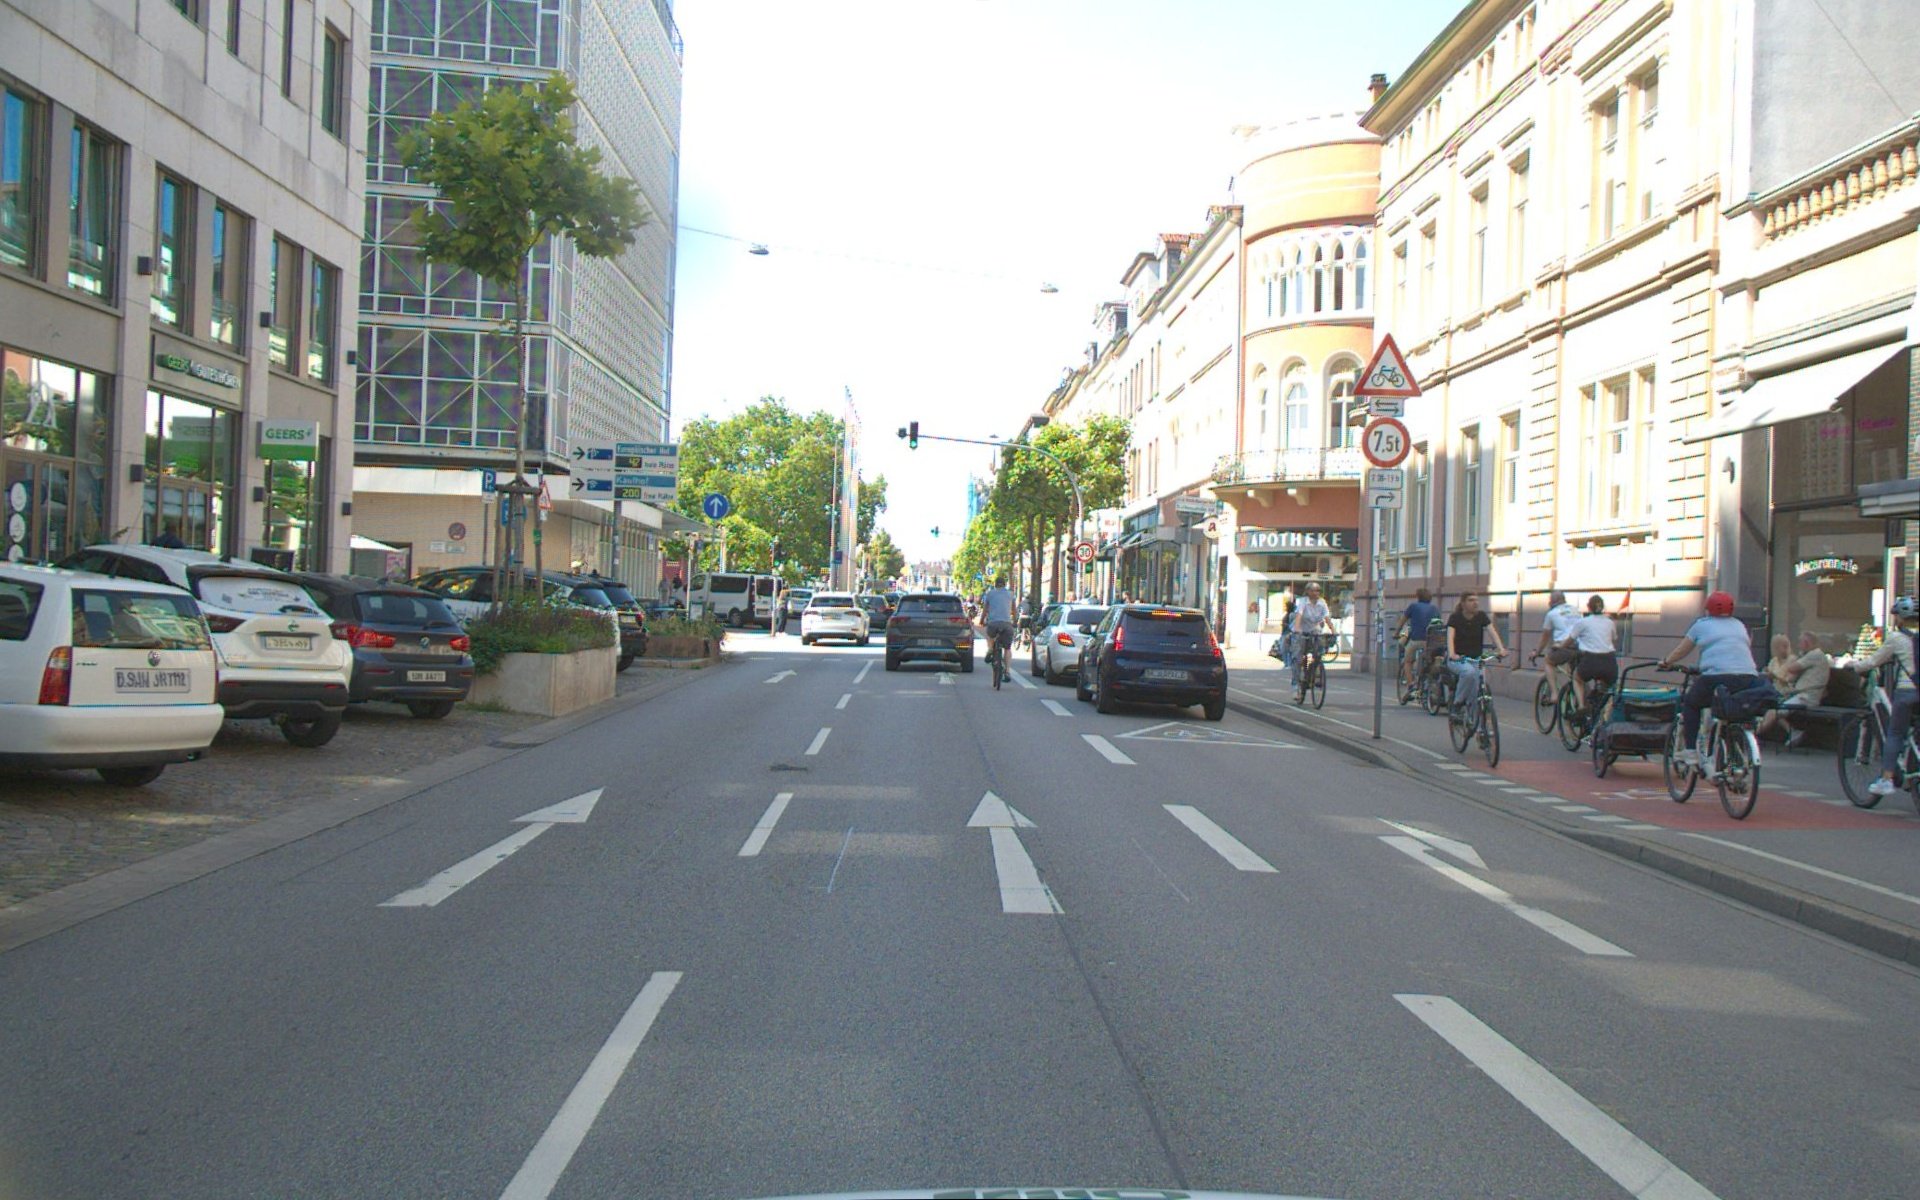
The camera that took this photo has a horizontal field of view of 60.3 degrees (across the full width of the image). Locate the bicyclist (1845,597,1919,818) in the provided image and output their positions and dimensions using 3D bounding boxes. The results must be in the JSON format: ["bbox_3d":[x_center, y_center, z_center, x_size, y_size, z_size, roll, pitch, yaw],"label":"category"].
[{"bbox_3d":[7.380,0.813,12.884,0.504,1.665,0.844,1,-1,-1],"label":"bicyclist"}]

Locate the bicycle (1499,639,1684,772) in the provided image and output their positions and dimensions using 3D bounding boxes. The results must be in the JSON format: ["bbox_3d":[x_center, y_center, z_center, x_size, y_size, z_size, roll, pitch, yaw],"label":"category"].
[{"bbox_3d":[6.623,1.058,17.582,0.733,1.146,3.241,0,1,0],"label":"bicycle"}]

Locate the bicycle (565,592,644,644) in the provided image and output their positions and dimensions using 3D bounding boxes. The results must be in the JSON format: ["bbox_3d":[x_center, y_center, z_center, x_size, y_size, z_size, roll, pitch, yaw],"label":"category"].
[{"bbox_3d":[-8.414,0.418,39.071,2.023,1.189,0.603,1,-1,36],"label":"bicycle"}]

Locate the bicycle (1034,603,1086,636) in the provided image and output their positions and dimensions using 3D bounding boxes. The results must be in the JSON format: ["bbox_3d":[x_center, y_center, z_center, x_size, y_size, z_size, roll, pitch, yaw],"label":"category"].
[{"bbox_3d":[3.648,0.706,60.273,1.801,1.146,0.667,2,-1,6],"label":"bicycle"}]

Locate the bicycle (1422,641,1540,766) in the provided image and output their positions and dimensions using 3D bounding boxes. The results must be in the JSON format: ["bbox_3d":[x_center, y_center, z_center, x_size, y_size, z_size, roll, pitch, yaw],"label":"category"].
[{"bbox_3d":[5.456,1.055,17.435,0.582,1.146,2.094,0,1,0],"label":"bicycle"}]

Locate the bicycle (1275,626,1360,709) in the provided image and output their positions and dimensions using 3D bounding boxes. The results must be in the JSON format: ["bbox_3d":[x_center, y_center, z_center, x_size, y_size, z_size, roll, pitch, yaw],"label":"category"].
[{"bbox_3d":[5.311,0.973,24.710,0.726,1.146,2.573,0,0,0],"label":"bicycle"}]

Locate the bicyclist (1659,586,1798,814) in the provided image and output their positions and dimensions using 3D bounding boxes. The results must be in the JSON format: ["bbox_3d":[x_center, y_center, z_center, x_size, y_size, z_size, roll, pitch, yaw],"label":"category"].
[{"bbox_3d":[6.104,0.771,13.175,0.669,1.747,0.844,-1,0,-1],"label":"bicyclist"}]

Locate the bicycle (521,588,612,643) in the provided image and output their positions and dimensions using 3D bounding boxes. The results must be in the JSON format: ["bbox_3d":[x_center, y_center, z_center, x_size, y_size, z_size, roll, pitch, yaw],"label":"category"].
[{"bbox_3d":[-9.022,0.351,37.911,2.017,1.146,0.646,2,0,25],"label":"bicycle"}]

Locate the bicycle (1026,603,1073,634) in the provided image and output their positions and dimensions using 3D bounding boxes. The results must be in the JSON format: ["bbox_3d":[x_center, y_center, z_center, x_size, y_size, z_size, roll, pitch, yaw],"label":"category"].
[{"bbox_3d":[3.523,0.735,65.065,1.802,1.147,0.530,2,-1,0],"label":"bicycle"}]

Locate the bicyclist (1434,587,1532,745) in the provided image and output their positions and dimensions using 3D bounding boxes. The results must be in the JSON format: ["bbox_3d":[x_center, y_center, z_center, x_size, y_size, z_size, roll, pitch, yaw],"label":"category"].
[{"bbox_3d":[5.481,0.677,17.365,0.730,1.601,0.844,1,-1,-1],"label":"bicyclist"}]

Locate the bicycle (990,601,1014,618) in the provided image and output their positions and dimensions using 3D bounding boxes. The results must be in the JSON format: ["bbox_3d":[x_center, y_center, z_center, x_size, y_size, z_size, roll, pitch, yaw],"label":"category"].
[{"bbox_3d":[2.844,0.629,111.742,1.615,1.114,0.607,2,0,1],"label":"bicycle"}]

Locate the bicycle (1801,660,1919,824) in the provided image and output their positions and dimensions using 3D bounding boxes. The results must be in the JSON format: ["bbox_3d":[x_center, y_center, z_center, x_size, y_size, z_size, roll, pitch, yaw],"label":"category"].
[{"bbox_3d":[7.410,1.083,13.066,0.593,1.146,1.860,0,0,0],"label":"bicycle"}]

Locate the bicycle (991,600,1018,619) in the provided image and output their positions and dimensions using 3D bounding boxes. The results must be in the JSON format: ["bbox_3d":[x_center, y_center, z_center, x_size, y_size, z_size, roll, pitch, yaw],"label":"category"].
[{"bbox_3d":[2.857,0.586,106.123,1.693,1.128,0.402,2,0,1],"label":"bicycle"}]

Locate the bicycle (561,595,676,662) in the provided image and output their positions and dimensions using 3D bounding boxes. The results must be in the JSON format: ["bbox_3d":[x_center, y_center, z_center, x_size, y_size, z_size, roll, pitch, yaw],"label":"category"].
[{"bbox_3d":[-6.619,0.553,32.124,2.101,1.146,0.484,4,1,-9],"label":"bicycle"}]

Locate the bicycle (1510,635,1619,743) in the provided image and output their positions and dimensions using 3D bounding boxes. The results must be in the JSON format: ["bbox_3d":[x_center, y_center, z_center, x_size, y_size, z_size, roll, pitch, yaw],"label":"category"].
[{"bbox_3d":[7.253,1.041,19.940,0.559,1.146,2.078,0,1,0],"label":"bicycle"}]

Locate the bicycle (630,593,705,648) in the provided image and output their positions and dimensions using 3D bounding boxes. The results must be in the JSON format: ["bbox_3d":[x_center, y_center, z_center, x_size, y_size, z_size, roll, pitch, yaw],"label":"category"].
[{"bbox_3d":[-6.839,0.476,38.648,2.029,1.193,0.601,2,-1,44],"label":"bicycle"}]

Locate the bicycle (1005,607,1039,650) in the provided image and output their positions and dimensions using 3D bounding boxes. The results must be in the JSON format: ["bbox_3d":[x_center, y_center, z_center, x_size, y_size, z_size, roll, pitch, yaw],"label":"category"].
[{"bbox_3d":[1.760,0.808,47.183,0.685,1.146,2.079,3,0,-4],"label":"bicycle"}]

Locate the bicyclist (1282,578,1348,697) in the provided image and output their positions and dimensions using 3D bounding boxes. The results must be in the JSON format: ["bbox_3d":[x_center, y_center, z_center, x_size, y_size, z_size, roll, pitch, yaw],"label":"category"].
[{"bbox_3d":[5.310,0.551,24.807,0.730,1.732,1.036,1,0,-1],"label":"bicyclist"}]

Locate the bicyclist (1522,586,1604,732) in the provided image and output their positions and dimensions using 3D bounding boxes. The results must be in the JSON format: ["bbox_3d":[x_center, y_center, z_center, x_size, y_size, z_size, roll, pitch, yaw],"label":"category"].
[{"bbox_3d":[7.253,0.687,19.934,0.559,1.690,1.159,0,1,0],"label":"bicyclist"}]

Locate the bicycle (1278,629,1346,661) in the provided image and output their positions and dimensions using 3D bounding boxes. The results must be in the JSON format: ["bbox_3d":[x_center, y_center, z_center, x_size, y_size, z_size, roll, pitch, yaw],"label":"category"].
[{"bbox_3d":[9.910,1.266,46.598,1.784,0.859,0.501,1,0,-1],"label":"bicycle"}]

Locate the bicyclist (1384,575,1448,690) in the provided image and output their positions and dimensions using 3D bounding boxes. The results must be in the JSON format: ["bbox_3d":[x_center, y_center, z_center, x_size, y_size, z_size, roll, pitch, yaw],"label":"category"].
[{"bbox_3d":[6.839,0.482,24.845,0.716,1.703,0.774,1,-1,-1],"label":"bicyclist"}]

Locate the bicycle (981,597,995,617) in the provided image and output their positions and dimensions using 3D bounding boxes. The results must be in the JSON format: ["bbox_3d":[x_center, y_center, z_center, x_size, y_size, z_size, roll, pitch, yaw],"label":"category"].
[{"bbox_3d":[1.479,0.357,87.416,0.634,1.015,2.030,2,0,-1],"label":"bicycle"}]

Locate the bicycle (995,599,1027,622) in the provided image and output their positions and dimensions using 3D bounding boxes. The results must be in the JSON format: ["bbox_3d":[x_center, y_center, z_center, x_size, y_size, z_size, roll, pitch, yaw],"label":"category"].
[{"bbox_3d":[2.997,0.615,96.693,1.801,1.206,0.670,3,0,4],"label":"bicycle"}]

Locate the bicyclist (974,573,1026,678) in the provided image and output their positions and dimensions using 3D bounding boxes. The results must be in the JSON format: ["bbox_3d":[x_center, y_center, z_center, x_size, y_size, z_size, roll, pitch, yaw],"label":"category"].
[{"bbox_3d":[0.646,0.403,26.990,0.759,1.664,0.851,2,0,-1],"label":"bicyclist"}]

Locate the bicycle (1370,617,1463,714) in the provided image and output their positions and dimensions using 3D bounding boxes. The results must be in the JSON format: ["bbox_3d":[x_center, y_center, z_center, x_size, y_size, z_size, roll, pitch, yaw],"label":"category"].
[{"bbox_3d":[6.848,0.955,24.947,0.717,1.291,2.282,3,1,0],"label":"bicycle"}]

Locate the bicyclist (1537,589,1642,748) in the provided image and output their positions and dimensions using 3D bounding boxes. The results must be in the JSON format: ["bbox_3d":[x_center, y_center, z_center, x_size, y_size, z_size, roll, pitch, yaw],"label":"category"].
[{"bbox_3d":[6.611,0.704,17.412,0.730,1.600,0.844,1,2,-1],"label":"bicyclist"}]

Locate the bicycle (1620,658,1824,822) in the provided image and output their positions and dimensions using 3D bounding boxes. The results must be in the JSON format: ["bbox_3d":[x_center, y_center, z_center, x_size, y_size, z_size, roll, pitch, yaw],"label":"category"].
[{"bbox_3d":[6.108,1.084,13.387,0.720,1.146,2.033,0,0,0],"label":"bicycle"}]

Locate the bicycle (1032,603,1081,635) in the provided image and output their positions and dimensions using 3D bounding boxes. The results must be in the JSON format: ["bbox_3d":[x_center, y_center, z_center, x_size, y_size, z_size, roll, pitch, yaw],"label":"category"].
[{"bbox_3d":[3.635,0.722,62.551,1.802,1.146,0.643,2,-1,0],"label":"bicycle"}]

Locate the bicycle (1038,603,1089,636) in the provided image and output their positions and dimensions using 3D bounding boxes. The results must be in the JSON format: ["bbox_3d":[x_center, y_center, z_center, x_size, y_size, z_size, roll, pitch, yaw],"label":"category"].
[{"bbox_3d":[3.810,0.714,60.980,1.802,1.146,0.666,2,-1,0],"label":"bicycle"}]

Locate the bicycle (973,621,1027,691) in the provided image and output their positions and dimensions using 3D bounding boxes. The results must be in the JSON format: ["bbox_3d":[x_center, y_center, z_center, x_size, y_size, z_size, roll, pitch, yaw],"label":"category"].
[{"bbox_3d":[0.635,0.887,27.007,0.759,1.023,2.329,2,0,-1],"label":"bicycle"}]

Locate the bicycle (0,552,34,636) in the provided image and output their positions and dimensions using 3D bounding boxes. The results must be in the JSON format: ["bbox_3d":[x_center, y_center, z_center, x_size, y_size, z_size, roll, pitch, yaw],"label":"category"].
[{"bbox_3d":[-13.187,-0.088,22.006,0.485,1.126,2.160,4,0,-2],"label":"bicycle"}]
